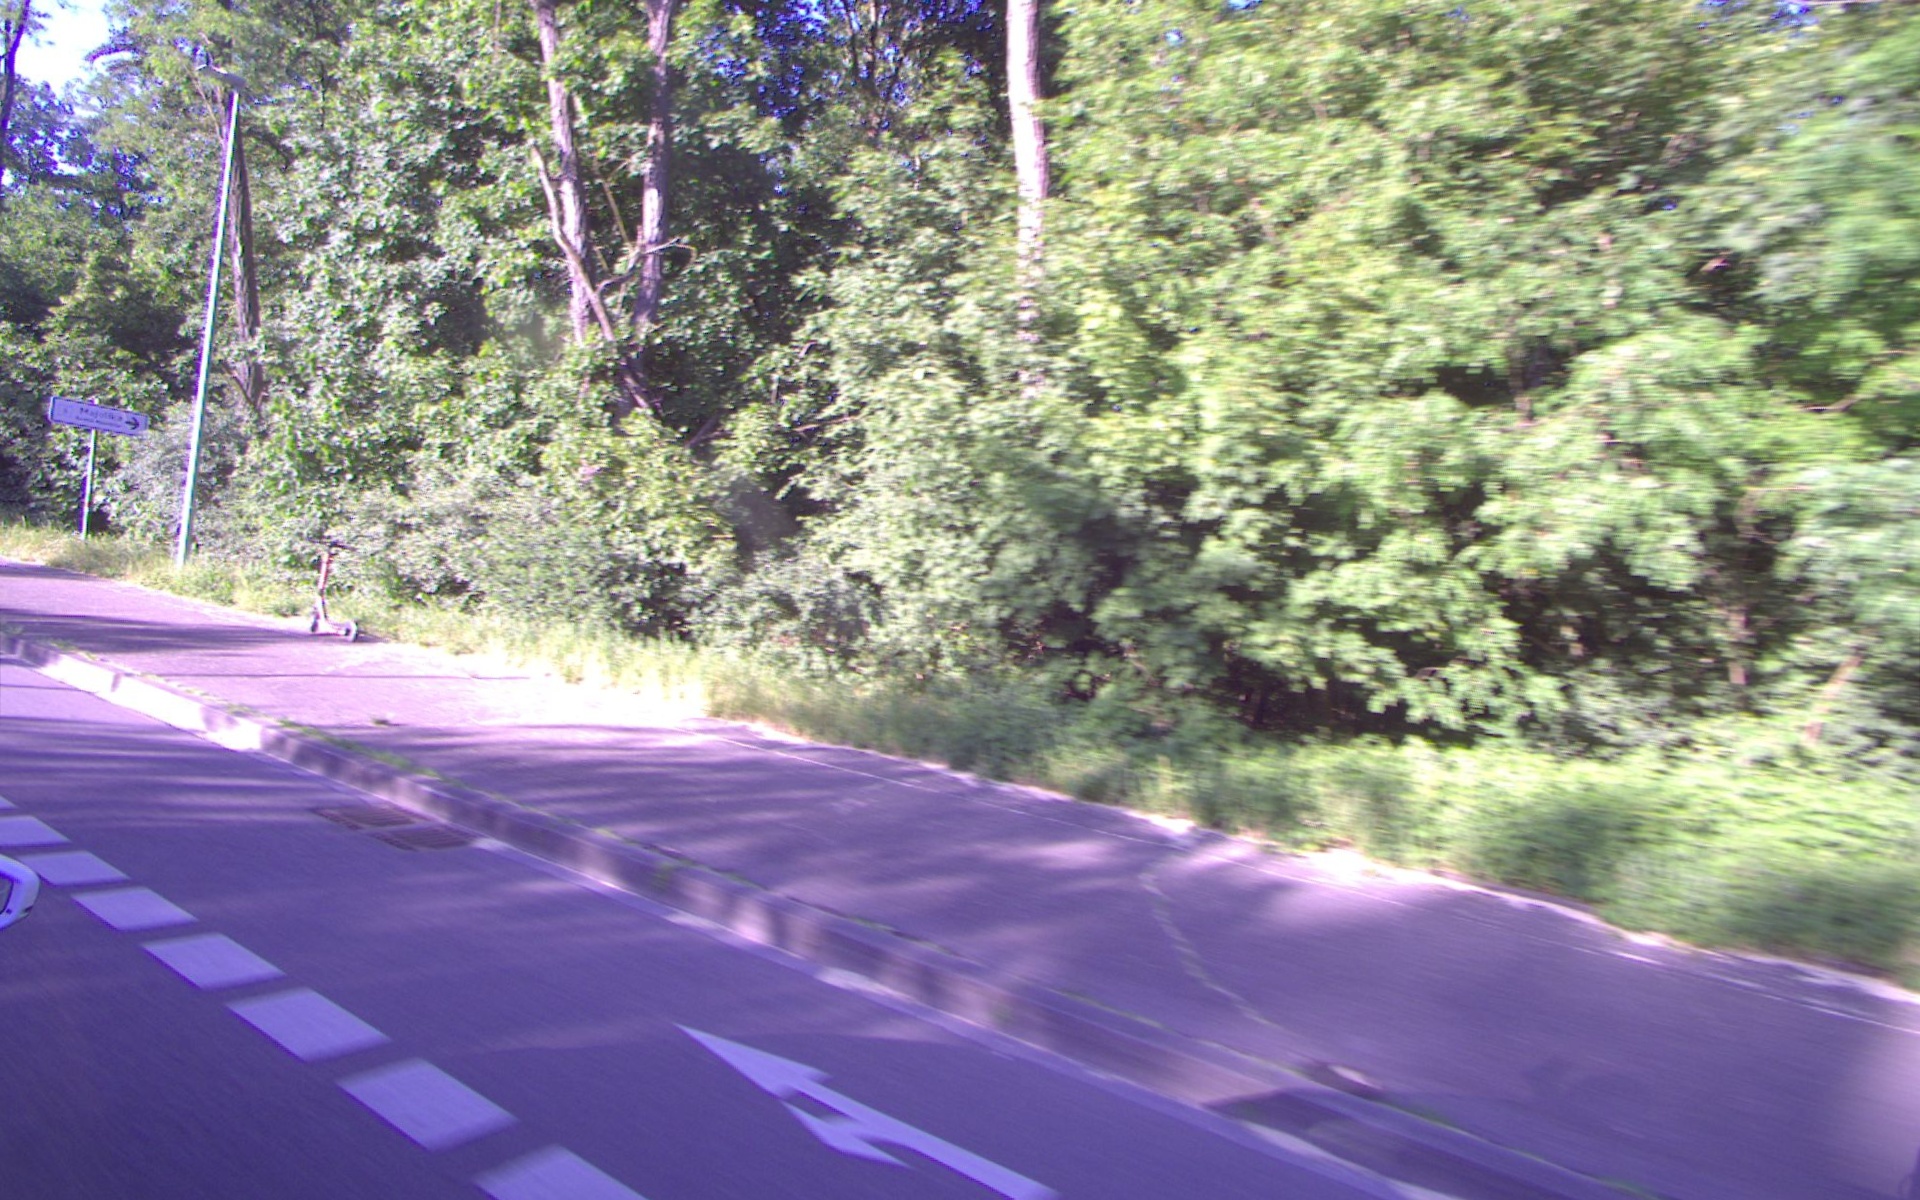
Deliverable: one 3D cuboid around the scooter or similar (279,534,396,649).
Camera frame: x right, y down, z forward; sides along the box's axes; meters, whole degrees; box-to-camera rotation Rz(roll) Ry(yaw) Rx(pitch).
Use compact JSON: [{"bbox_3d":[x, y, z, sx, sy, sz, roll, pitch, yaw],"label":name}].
[{"bbox_3d":[-7.747,-0.115,12.504,1.515,1.266,0.533,7,1,32],"label":"scooter or similar"}]
